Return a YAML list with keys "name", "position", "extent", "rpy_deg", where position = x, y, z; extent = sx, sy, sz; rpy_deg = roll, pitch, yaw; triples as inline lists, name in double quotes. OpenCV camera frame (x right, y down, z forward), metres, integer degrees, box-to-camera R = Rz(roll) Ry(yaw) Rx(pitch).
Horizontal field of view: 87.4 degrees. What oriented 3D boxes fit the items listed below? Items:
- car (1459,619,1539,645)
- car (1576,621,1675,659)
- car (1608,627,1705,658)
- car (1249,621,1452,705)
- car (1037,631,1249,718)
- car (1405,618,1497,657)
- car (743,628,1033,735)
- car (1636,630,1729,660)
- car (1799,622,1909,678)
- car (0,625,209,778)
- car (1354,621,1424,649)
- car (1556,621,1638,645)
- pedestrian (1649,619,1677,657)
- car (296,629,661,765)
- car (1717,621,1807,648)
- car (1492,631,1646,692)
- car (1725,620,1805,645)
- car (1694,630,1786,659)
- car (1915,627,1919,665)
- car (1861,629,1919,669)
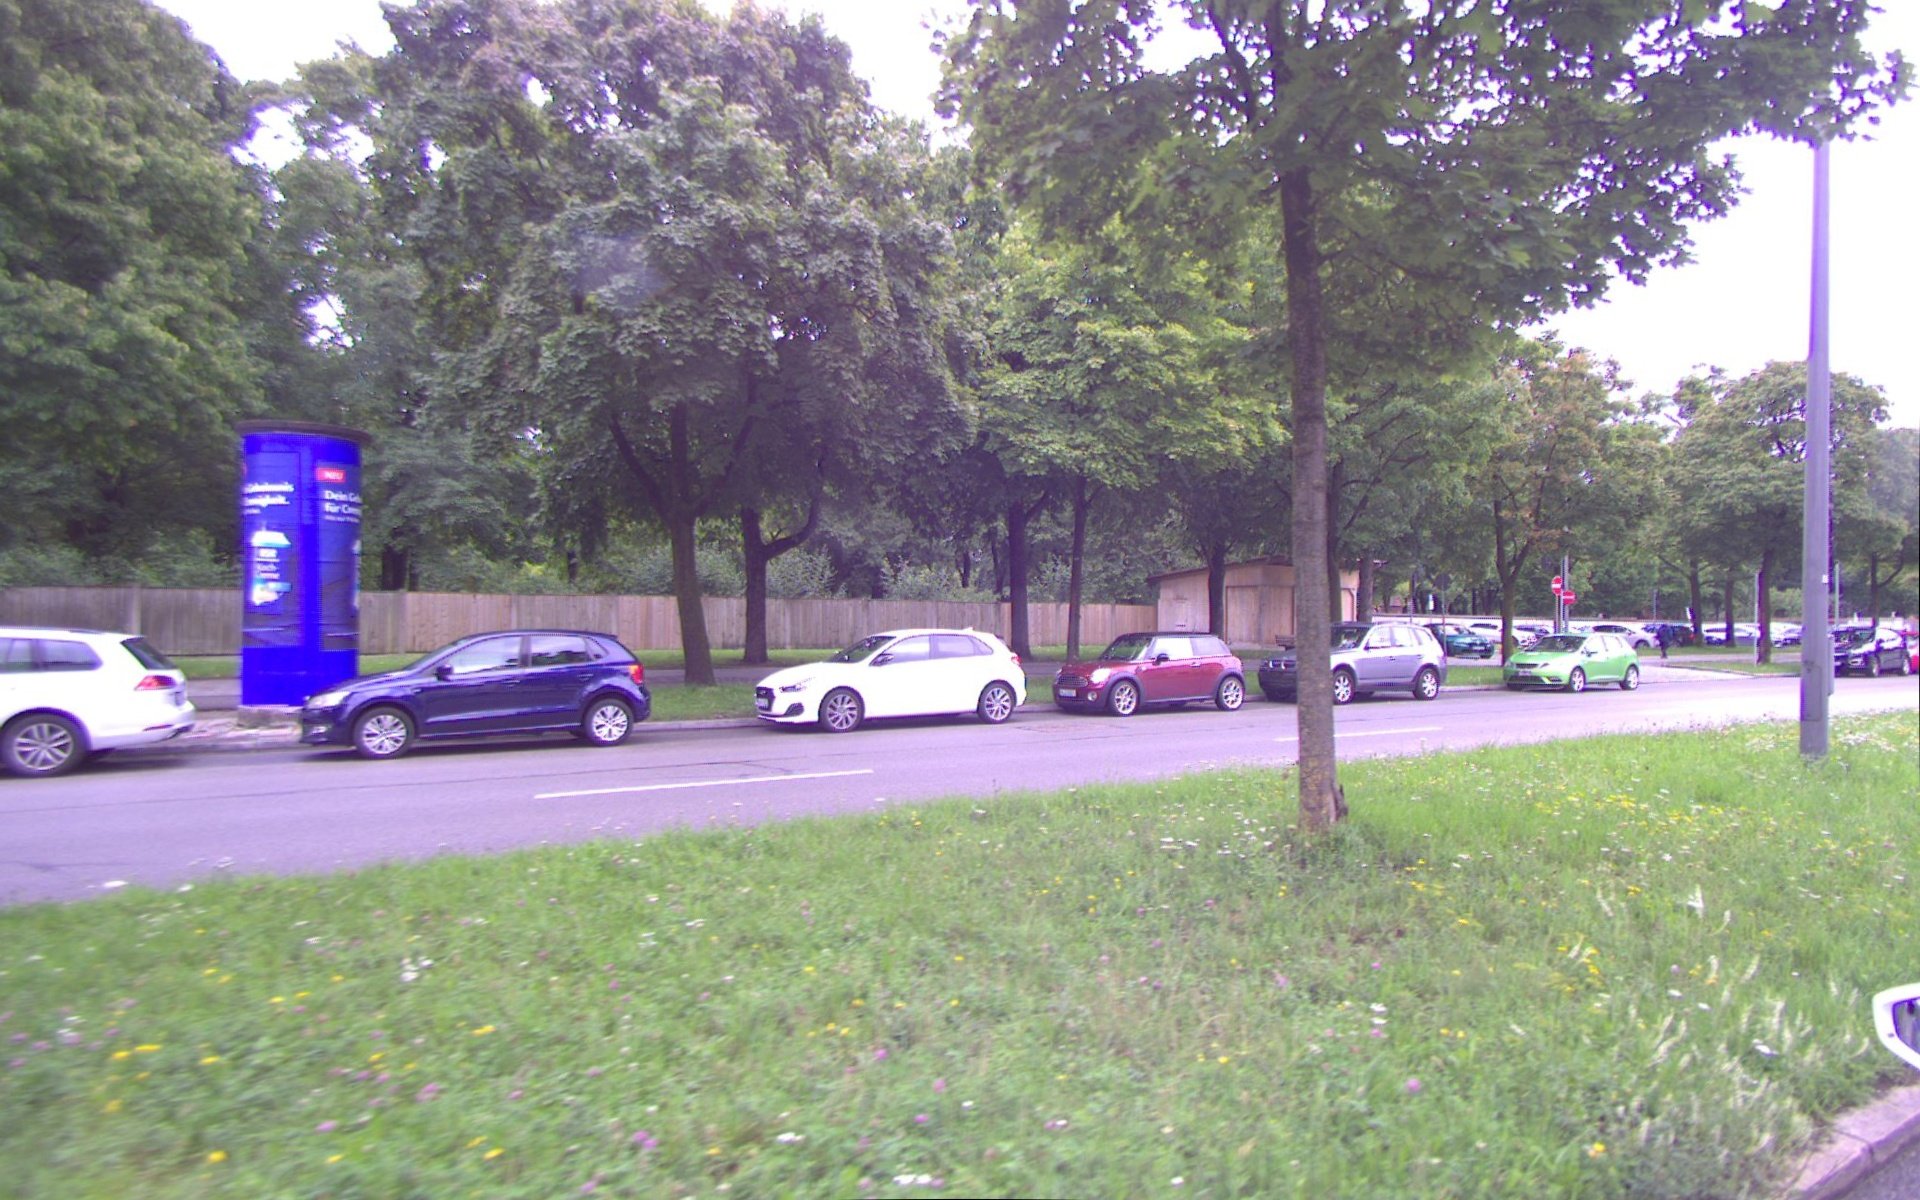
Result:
- name: "car"
  position: [35.524, 2.083, 66.322]
  extent: [1.652, 1.496, 4.486]
  rpy_deg: [2, 0, -29]
- name: "car"
  position: [33.998, 2.006, 51.418]
  extent: [1.656, 1.740, 3.893]
  rpy_deg: [1, 0, -35]
- name: "car"
  position: [36.527, 2.208, 52.729]
  extent: [1.656, 1.465, 3.841]
  rpy_deg: [1, 0, -35]
- name: "car"
  position: [8.218, 1.255, 21.033]
  extent: [4.320, 1.607, 1.682]
  rpy_deg: [1, -2, -31]
- name: "car"
  position: [3.310, 1.276, 18.092]
  extent: [3.585, 1.415, 1.584]
  rpy_deg: [1, -2, -29]
- name: "car"
  position: [21.169, 1.582, 43.499]
  extent: [1.922, 1.465, 4.421]
  rpy_deg: [2, 0, 2]
- name: "car"
  position: [-1.064, 1.179, 15.530]
  extent: [4.228, 1.463, 1.600]
  rpy_deg: [1, -2, -30]
- name: "car"
  position: [39.776, 2.431, 55.400]
  extent: [1.656, 1.465, 3.841]
  rpy_deg: [1, 0, -35]
- name: "car"
  position: [30.201, 1.665, 33.909]
  extent: [3.834, 1.764, 1.708]
  rpy_deg: [1, 0, -31]
- name: "car"
  position: [-10.391, 0.998, 9.981]
  extent: [4.480, 1.469, 1.754]
  rpy_deg: [1, -2, -31]
- name: "car"
  position: [20.916, 1.690, 49.107]
  extent: [1.639, 1.217, 4.421]
  rpy_deg: [2, 0, 2]
- name: "car"
  position: [44.981, 2.311, 70.989]
  extent: [1.652, 1.465, 4.670]
  rpy_deg: [1, 0, -29]
- name: "pedestrian"
  position: [29.459, 1.589, 42.100]
  extent: [0.712, 1.554, 0.724]
  rpy_deg: [1, 0, -29]
- name: "car"
  position: [-5.849, 1.090, 12.410]
  extent: [3.855, 1.436, 1.604]
  rpy_deg: [1, -2, -33]
- name: "car"
  position: [47.320, 2.010, 59.315]
  extent: [1.656, 1.465, 3.841]
  rpy_deg: [1, 0, -35]
- name: "car"
  position: [15.305, 1.494, 25.225]
  extent: [3.830, 1.428, 1.542]
  rpy_deg: [1, -2, -28]
- name: "car"
  position: [53.310, 2.145, 66.594]
  extent: [1.656, 1.465, 3.841]
  rpy_deg: [1, 0, -35]
- name: "car"
  position: [44.596, 2.518, 57.518]
  extent: [1.656, 1.465, 3.841]
  rpy_deg: [1, 0, -35]
- name: "car"
  position: [38.835, 1.804, 38.924]
  extent: [3.834, 1.465, 1.659]
  rpy_deg: [1, 0, -31]
- name: "car"
  position: [34.619, 1.777, 36.737]
  extent: [3.342, 1.329, 1.582]
  rpy_deg: [1, 0, -31]
